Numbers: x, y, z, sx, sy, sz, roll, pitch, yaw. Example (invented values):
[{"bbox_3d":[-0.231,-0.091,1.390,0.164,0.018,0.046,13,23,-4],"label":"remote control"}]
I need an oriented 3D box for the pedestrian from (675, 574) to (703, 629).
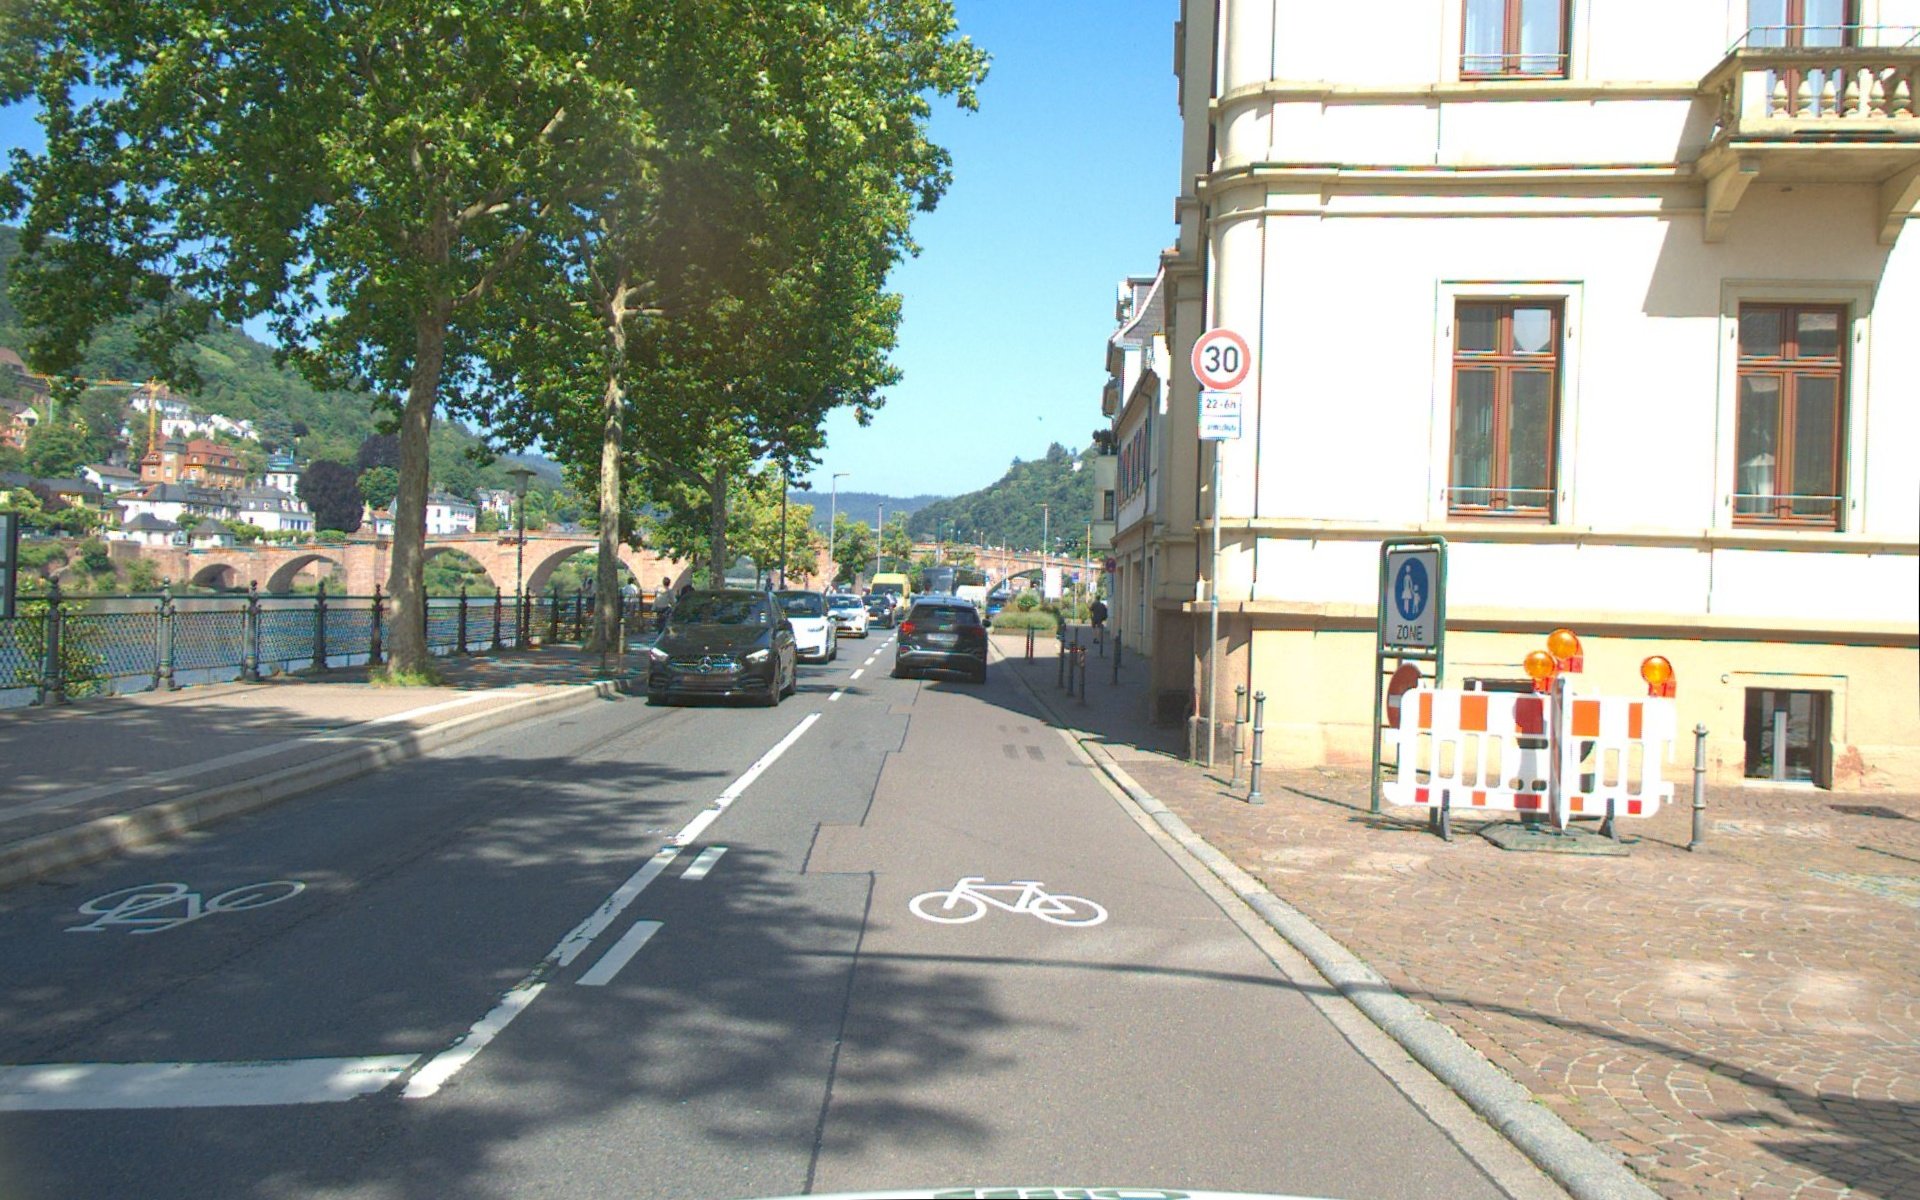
[{"bbox_3d":[-8.662,0.053,52.916,0.643,1.711,0.758,4,0,-2],"label":"pedestrian"}]

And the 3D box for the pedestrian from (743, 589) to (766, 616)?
[{"bbox_3d":[-10.398,0.123,83.613,0.916,1.303,0.850,2,0,8],"label":"pedestrian"}]

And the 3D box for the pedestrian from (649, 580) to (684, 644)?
[{"bbox_3d":[-7.605,0.303,42.927,0.746,1.614,0.695,2,0,-2],"label":"pedestrian"}]

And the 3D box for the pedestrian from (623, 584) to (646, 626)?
[{"bbox_3d":[-12.934,0.200,65.657,0.679,1.644,0.664,2,0,6],"label":"pedestrian"}]

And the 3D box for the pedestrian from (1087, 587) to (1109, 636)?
[{"bbox_3d":[5.006,0.423,60.029,0.746,1.743,0.696,-1,0,2],"label":"pedestrian"}]

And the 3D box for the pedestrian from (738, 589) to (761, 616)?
[{"bbox_3d":[-10.515,0.118,82.707,0.916,1.303,0.850,2,0,8],"label":"pedestrian"}]

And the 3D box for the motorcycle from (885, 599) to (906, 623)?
[{"bbox_3d":[-3.059,0.508,77.997,0.866,1.096,2.326,1,0,-5],"label":"motorcycle"}]

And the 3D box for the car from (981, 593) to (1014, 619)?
[{"bbox_3d":[2.458,0.374,106.385,1.886,1.580,4.834,1,0,4],"label":"car"}]

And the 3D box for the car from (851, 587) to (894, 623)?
[{"bbox_3d":[-3.772,0.204,72.072,1.666,1.484,4.001,1,0,-1],"label":"car"}]

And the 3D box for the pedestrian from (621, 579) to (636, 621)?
[{"bbox_3d":[-13.112,0.000,65.503,0.406,1.625,0.451,2,0,6],"label":"pedestrian"}]

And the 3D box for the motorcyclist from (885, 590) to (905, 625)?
[{"bbox_3d":[-3.054,0.363,78.024,0.861,1.611,1.024,2,0,-4],"label":"motorcyclist"}]

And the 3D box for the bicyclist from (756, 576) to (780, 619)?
[{"bbox_3d":[-7.382,-0.108,63.615,0.704,1.611,1.089,2,0,1],"label":"bicyclist"}]

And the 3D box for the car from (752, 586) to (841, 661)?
[{"bbox_3d":[-3.558,0.503,36.617,1.700,1.544,4.402,1,-1,-3],"label":"car"}]

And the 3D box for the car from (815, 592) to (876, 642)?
[{"bbox_3d":[-3.852,0.555,56.287,1.666,1.470,4.092,3,1,1],"label":"car"}]

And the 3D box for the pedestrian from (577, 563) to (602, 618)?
[{"bbox_3d":[-13.601,-0.347,60.736,0.679,1.979,0.886,2,0,-2],"label":"pedestrian"}]

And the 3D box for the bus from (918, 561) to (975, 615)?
[{"bbox_3d":[-0.868,-0.761,121.901,2.575,3.626,12.991,2,-1,6],"label":"bus"}]

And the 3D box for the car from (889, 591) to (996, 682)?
[{"bbox_3d":[-0.333,0.672,32.960,1.887,1.580,4.831,3,0,0],"label":"car"}]

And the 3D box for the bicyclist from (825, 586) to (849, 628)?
[{"bbox_3d":[-4.729,0.265,63.593,0.751,1.558,1.025,3,2,1],"label":"bicyclist"}]

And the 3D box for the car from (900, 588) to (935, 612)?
[{"bbox_3d":[-2.602,-0.032,102.037,1.775,1.453,4.313,0,1,4],"label":"car"}]

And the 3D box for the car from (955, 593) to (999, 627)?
[{"bbox_3d":[0.868,0.447,80.881,1.886,1.580,4.834,1,0,4],"label":"car"}]

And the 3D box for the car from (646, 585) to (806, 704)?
[{"bbox_3d":[-3.277,0.584,23.891,1.666,1.544,4.404,0,0,0],"label":"car"}]

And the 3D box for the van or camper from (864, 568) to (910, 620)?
[{"bbox_3d":[-3.882,-0.298,88.653,2.045,2.601,7.091,2,0,0],"label":"van or camper"}]

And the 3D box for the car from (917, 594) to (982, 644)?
[{"bbox_3d":[-0.295,0.571,52.946,1.887,1.486,4.833,2,0,1],"label":"car"}]

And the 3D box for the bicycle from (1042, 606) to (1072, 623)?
[{"bbox_3d":[6.054,0.900,103.143,1.772,0.893,0.502,4,1,3],"label":"bicycle"}]
